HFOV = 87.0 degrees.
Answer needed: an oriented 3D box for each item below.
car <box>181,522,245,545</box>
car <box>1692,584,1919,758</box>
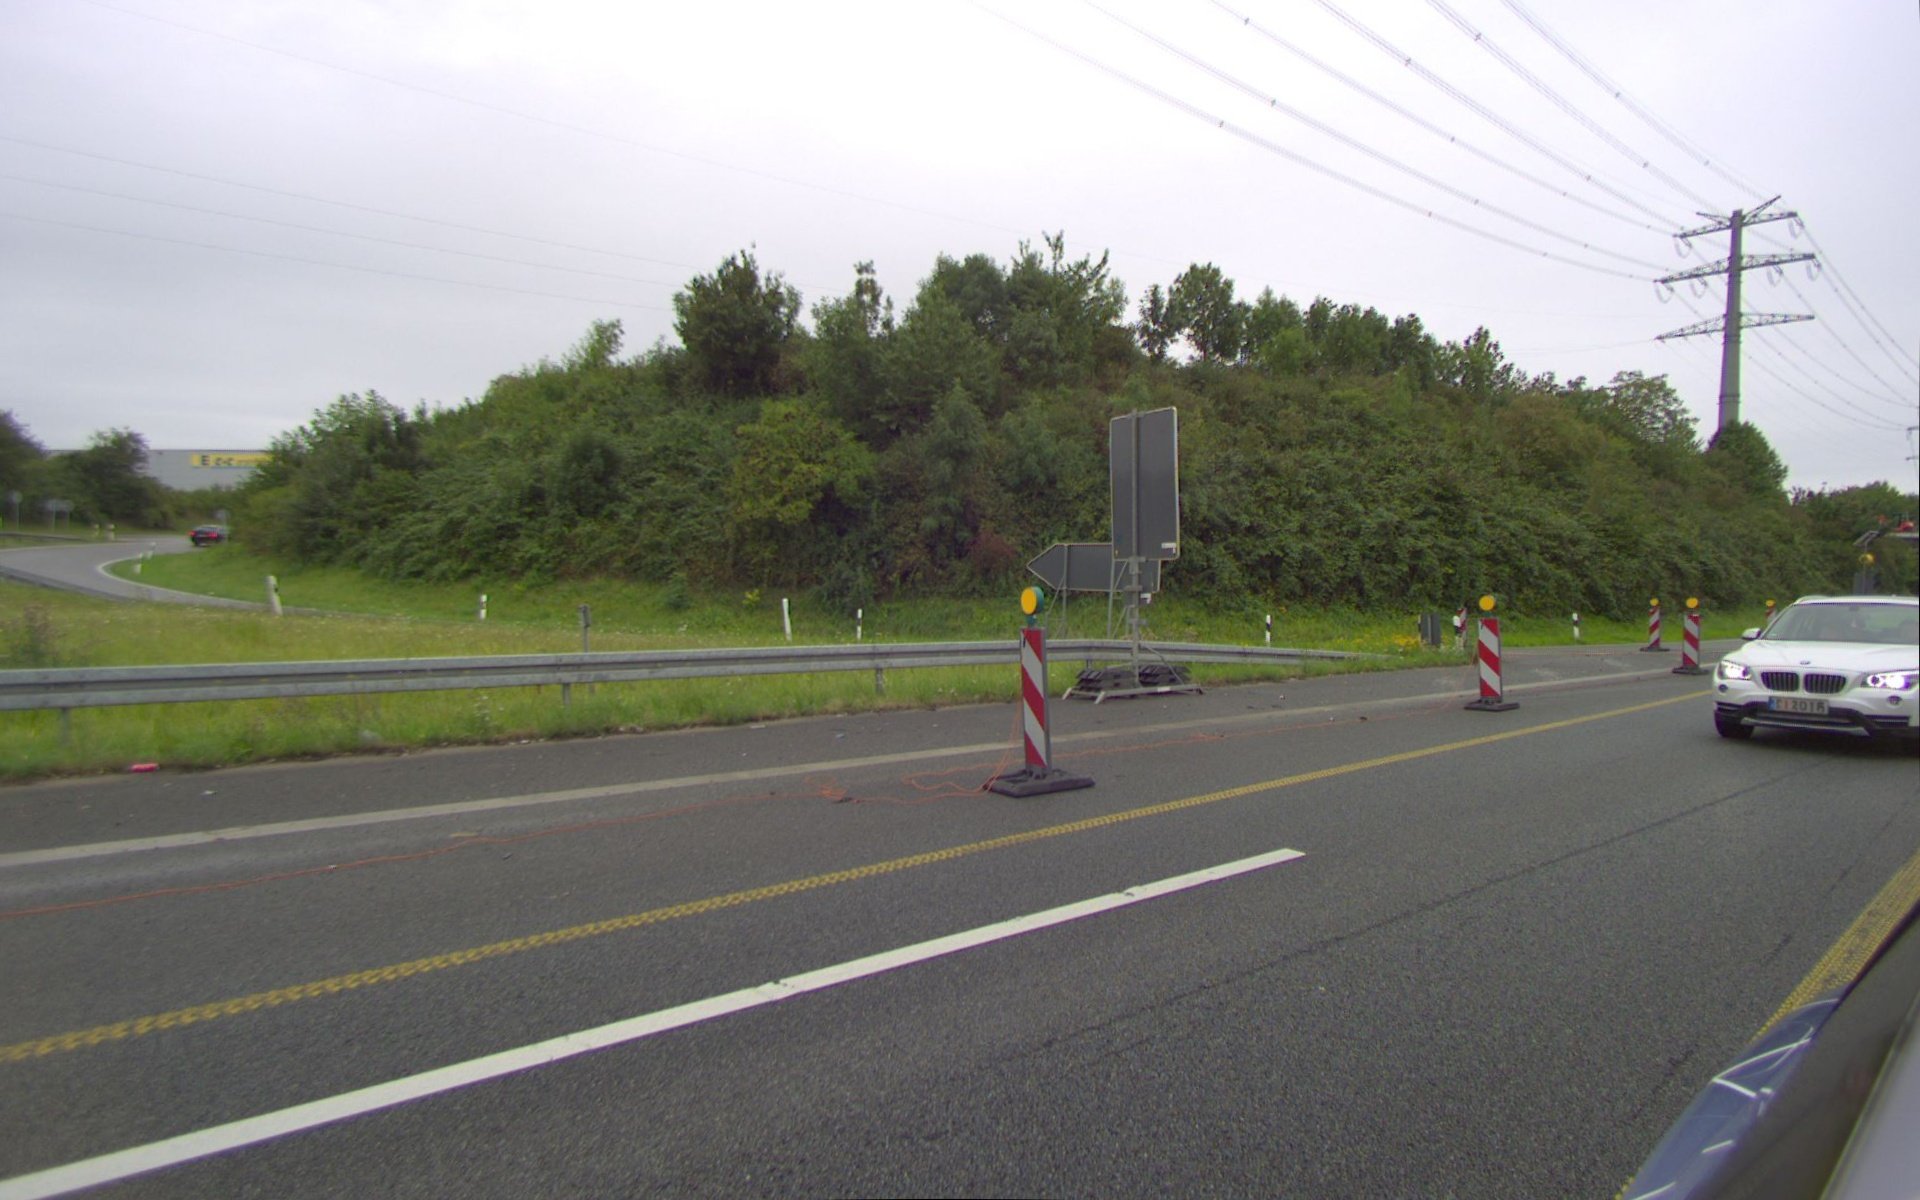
[{"bbox_3d":[-53.253,-4.701,72.237,1.958,1.466,4.605,1,2,-13],"label":"car"},{"bbox_3d":[9.826,0.623,10.931,4.117,1.554,1.876,0,1,-35],"label":"car"}]
